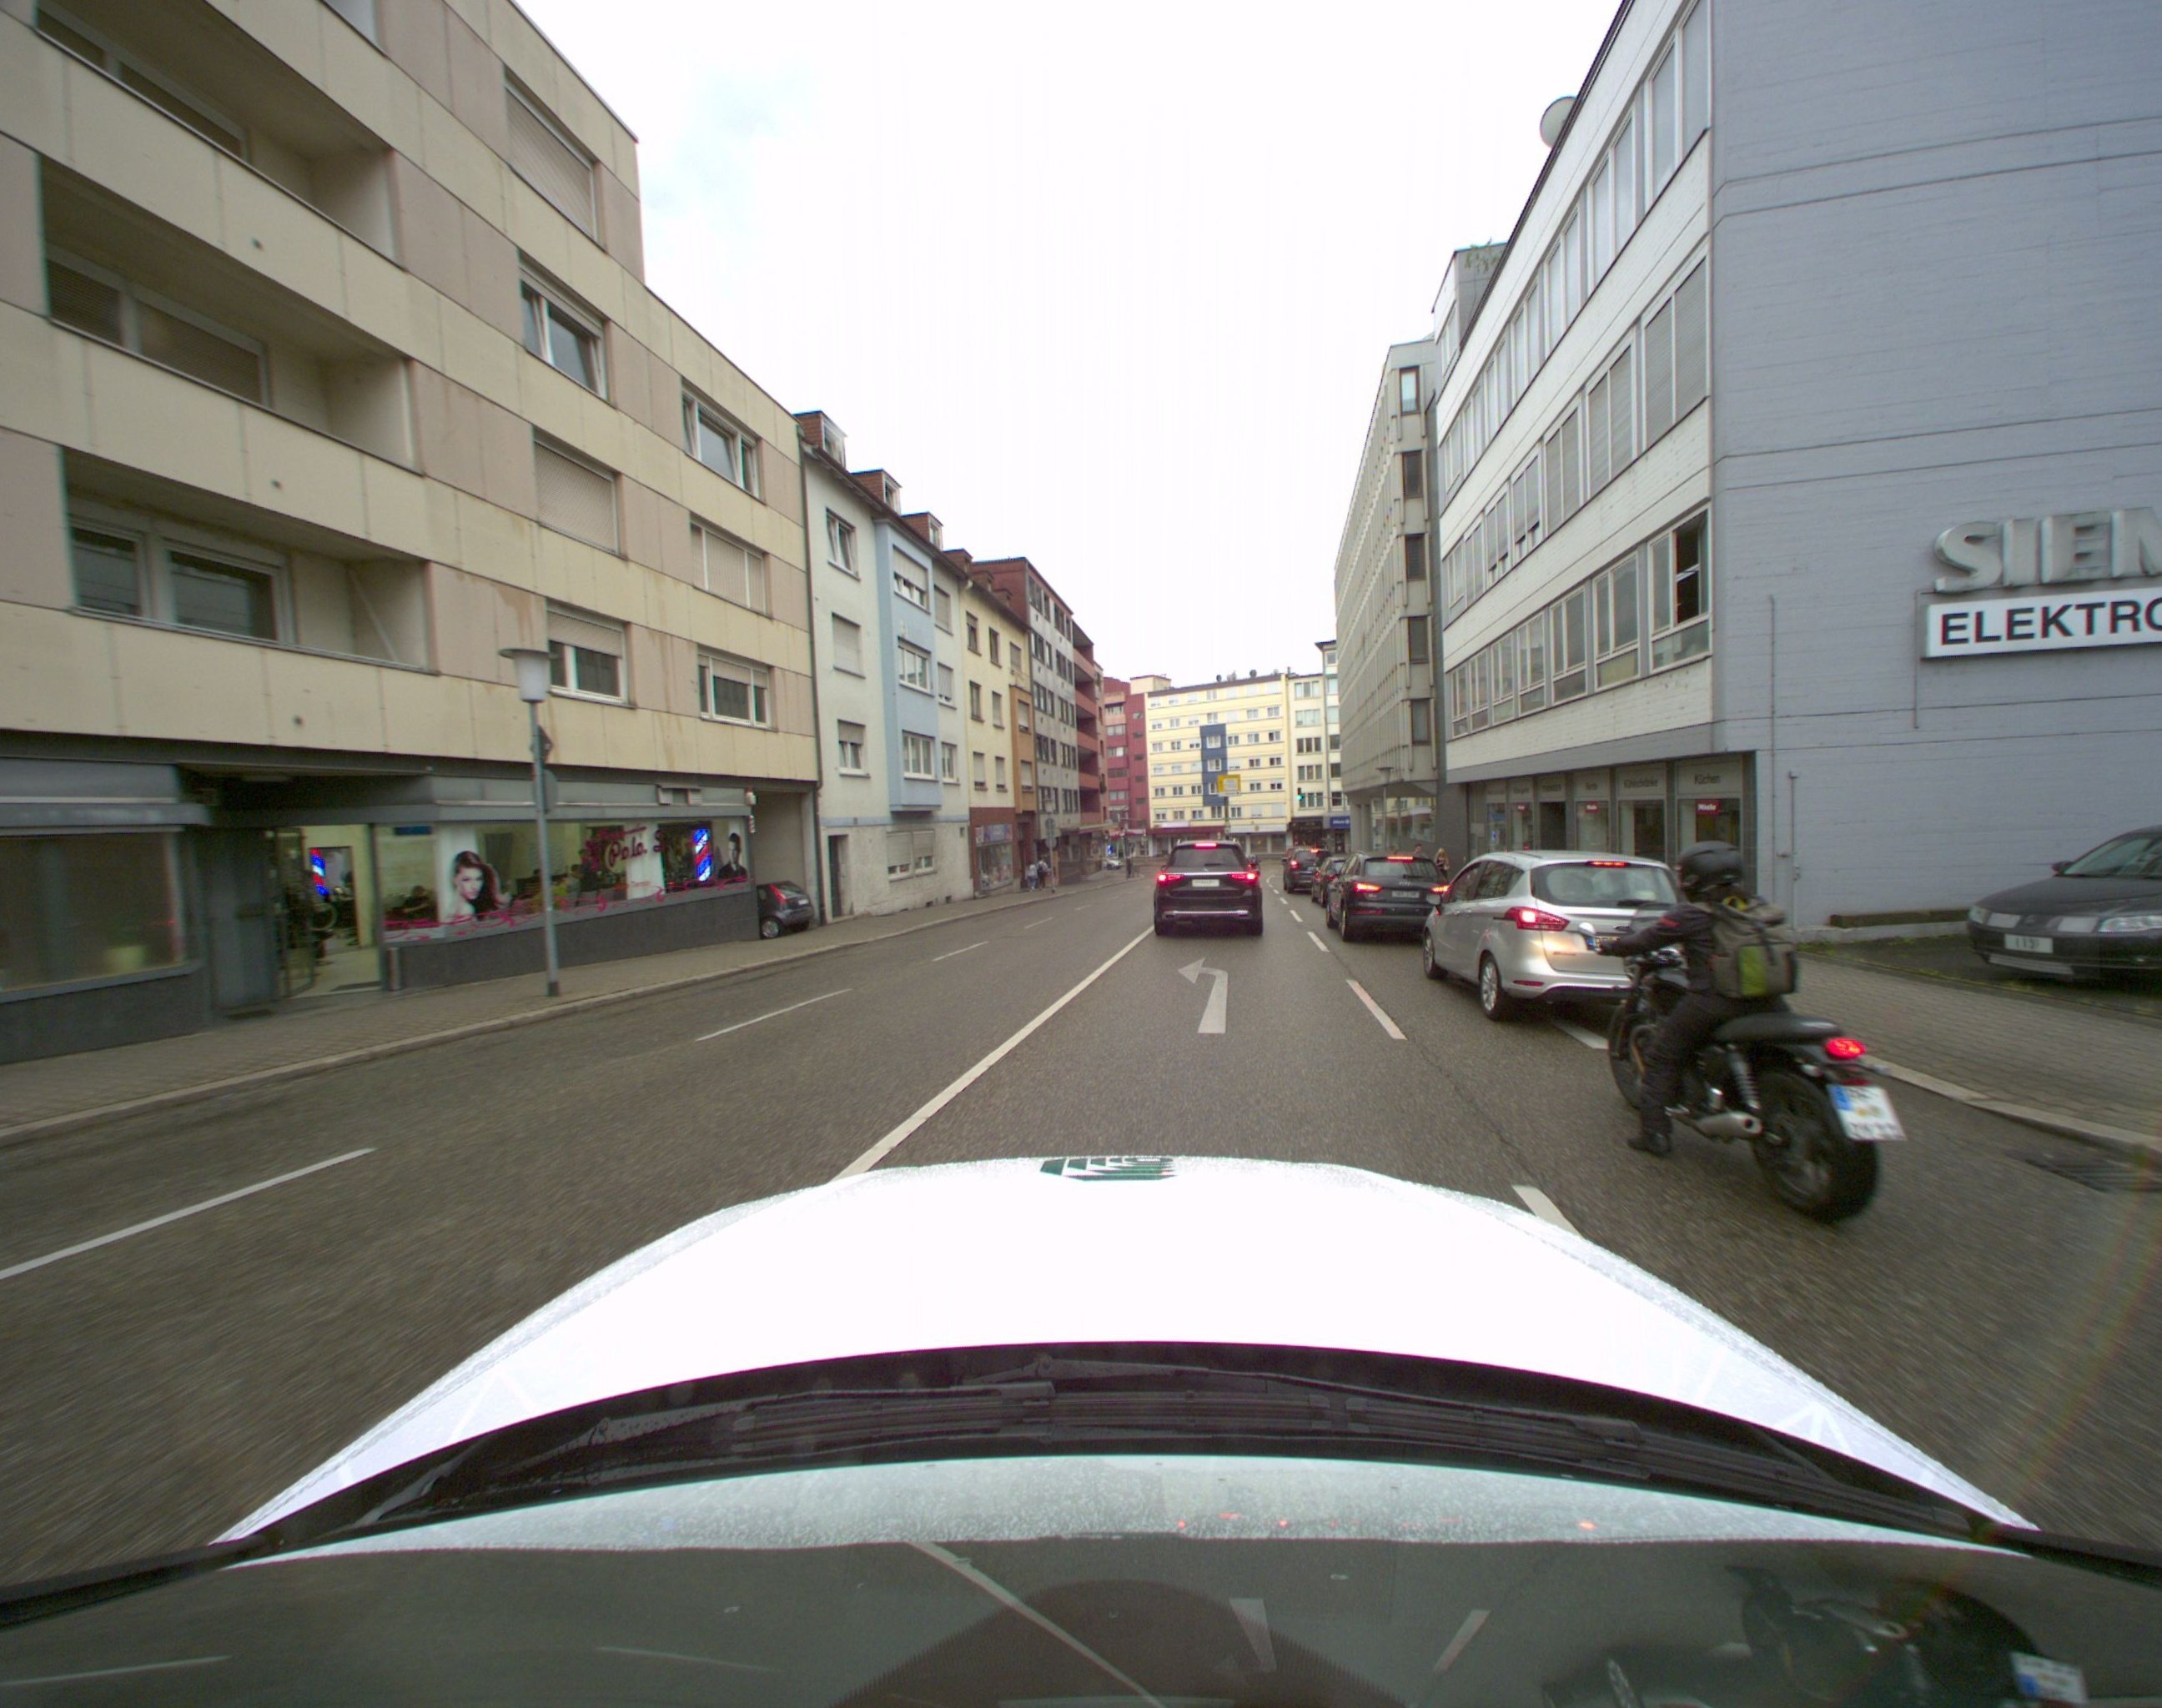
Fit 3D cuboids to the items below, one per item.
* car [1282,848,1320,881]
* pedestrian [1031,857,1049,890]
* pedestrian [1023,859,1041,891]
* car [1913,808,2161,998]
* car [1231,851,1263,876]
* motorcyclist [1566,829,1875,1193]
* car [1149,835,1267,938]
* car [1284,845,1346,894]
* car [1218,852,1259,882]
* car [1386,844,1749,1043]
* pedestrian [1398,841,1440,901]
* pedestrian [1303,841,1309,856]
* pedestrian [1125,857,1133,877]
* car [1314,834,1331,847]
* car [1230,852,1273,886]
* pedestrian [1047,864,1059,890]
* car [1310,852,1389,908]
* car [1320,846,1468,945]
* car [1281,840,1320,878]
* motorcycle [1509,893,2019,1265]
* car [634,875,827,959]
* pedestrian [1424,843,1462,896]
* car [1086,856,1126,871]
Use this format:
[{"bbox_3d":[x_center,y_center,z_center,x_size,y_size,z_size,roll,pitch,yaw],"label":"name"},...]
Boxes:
[{"bbox_3d":[11.644,0.560,43.368,1.810,1.658,4.512,0,-1,14],"label":"car"},{"bbox_3d":[-2.103,0.980,41.492,0.824,1.689,0.724,0,0,3],"label":"pedestrian"},{"bbox_3d":[-2.411,1.031,40.400,0.824,1.561,0.724,0,0,3],"label":"pedestrian"},{"bbox_3d":[11.006,0.314,8.009,3.982,1.450,1.795,-5,0,-6],"label":"car"},{"bbox_3d":[10.563,0.631,51.722,1.912,1.515,4.677,0,-1,12],"label":"car"},{"bbox_3d":[3.116,0.685,4.096,0.840,1.589,0.964,1,0,6],"label":"motorcyclist"},{"bbox_3d":[2.657,0.582,16.702,2.026,1.799,4.676,-1,0,10],"label":"car"},{"bbox_3d":[8.923,0.549,31.428,1.885,1.695,4.519,1,0,11],"label":"car"},{"bbox_3d":[8.560,0.681,44.121,1.980,1.486,4.251,-3,0,12],"label":"car"},{"bbox_3d":[4.683,0.700,8.674,1.816,1.541,4.262,1,0,8],"label":"car"},{"bbox_3d":[10.217,0.500,24.643,0.779,1.705,1.123,-5,-1,8],"label":"pedestrian"},{"bbox_3d":[27.022,-0.646,97.927,0.559,1.688,0.759,-2,6,18],"label":"pedestrian"},{"bbox_3d":[4.128,1.138,69.591,0.551,1.697,0.625,-2,0,8],"label":"pedestrian"},{"bbox_3d":[32.597,-1.780,109.799,1.782,1.670,4.021,-3,0,20],"label":"car"},{"bbox_3d":[8.008,0.681,38.488,1.862,1.495,4.413,-1,0,10],"label":"car"},{"bbox_3d":[-1.410,1.164,41.468,0.531,1.323,0.724,0,0,3],"label":"pedestrian"},{"bbox_3d":[7.841,0.706,24.087,1.678,1.477,4.011,1,0,10],"label":"car"},{"bbox_3d":[5.642,0.670,15.202,1.812,1.560,4.213,0,0,10],"label":"car"},{"bbox_3d":[13.711,0.290,50.782,2.225,2.228,5.451,-1,0,16],"label":"car"},{"bbox_3d":[3.129,0.876,4.186,0.840,1.226,2.378,1,0,7],"label":"motorcycle"},{"bbox_3d":[-8.770,1.551,20.558,3.970,1.350,1.681,-9,1,4],"label":"car"},{"bbox_3d":[11.304,0.484,25.465,0.761,1.551,0.893,-5,-1,8],"label":"pedestrian"},{"bbox_3d":[2.775,1.048,90.530,4.123,1.592,1.751,0,0,27],"label":"car"}]
